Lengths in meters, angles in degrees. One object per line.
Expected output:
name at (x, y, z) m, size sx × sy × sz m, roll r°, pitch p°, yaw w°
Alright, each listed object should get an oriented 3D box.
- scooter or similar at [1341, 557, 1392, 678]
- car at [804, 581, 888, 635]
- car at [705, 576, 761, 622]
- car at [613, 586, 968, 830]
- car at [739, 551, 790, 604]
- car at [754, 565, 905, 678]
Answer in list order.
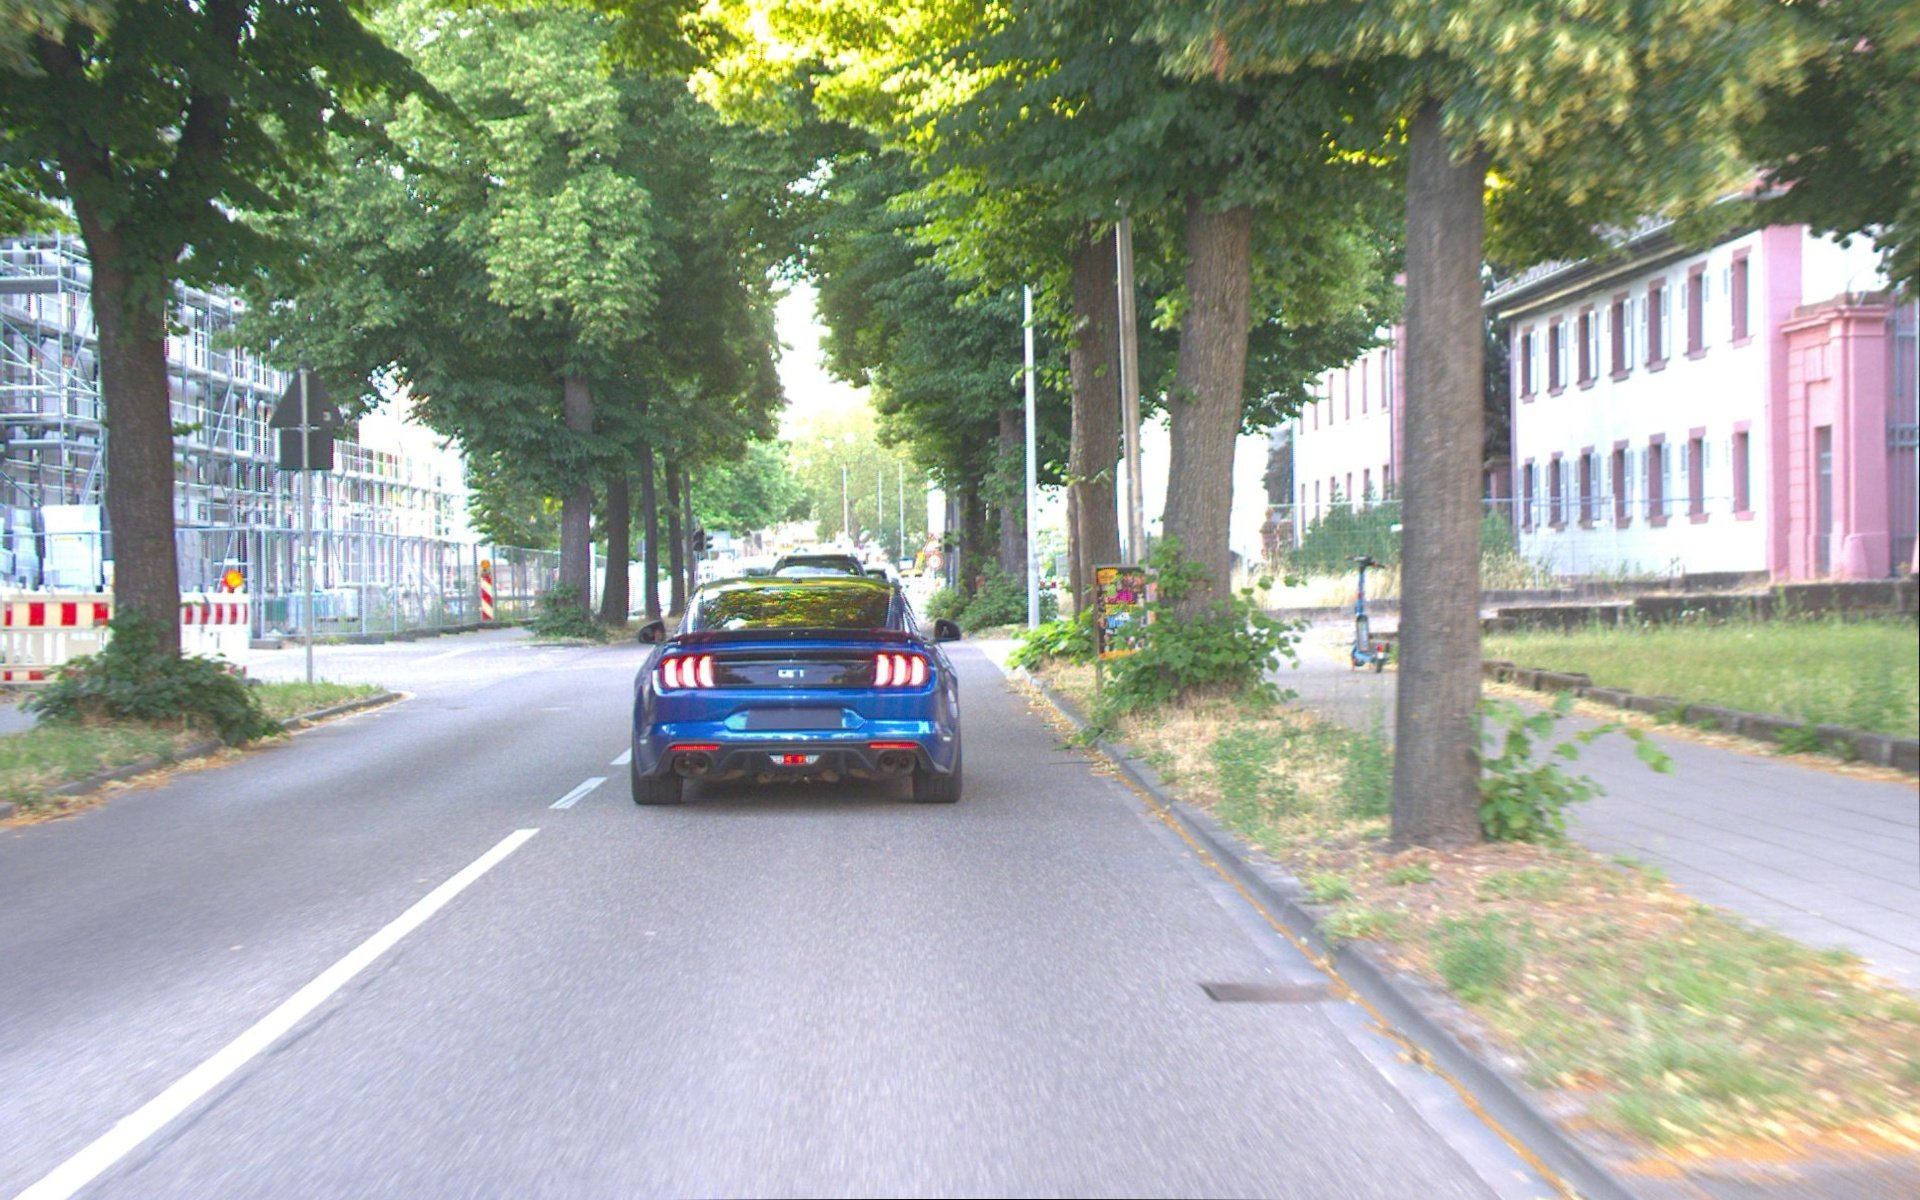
scooter or similar at (4.359, 0.186, 36.894) m, size 0.239 × 1.272 × 1.267 m, roll -1°, pitch 0°, yaw -6°
car at (-2.882, 0.188, 87.386) m, size 1.947 × 1.322 × 4.000 m, roll 1°, pitch 0°, yaw 1°
car at (-11.165, -0.083, 169.412) m, size 2.336 × 2.190 × 5.309 m, roll -1°, pitch 0°, yaw 0°
car at (-0.990, 0.592, 21.072) m, size 1.947 × 1.322 × 4.000 m, roll 1°, pitch 0°, yaw -1°
car at (-10.233, -1.159, 180.726) m, size 2.492 × 2.688 × 5.831 m, roll -1°, pitch 0°, yaw -2°
car at (-1.814, 0.286, 49.079) m, size 1.947 × 1.522 × 4.000 m, roll 1°, pitch 0°, yaw 1°
